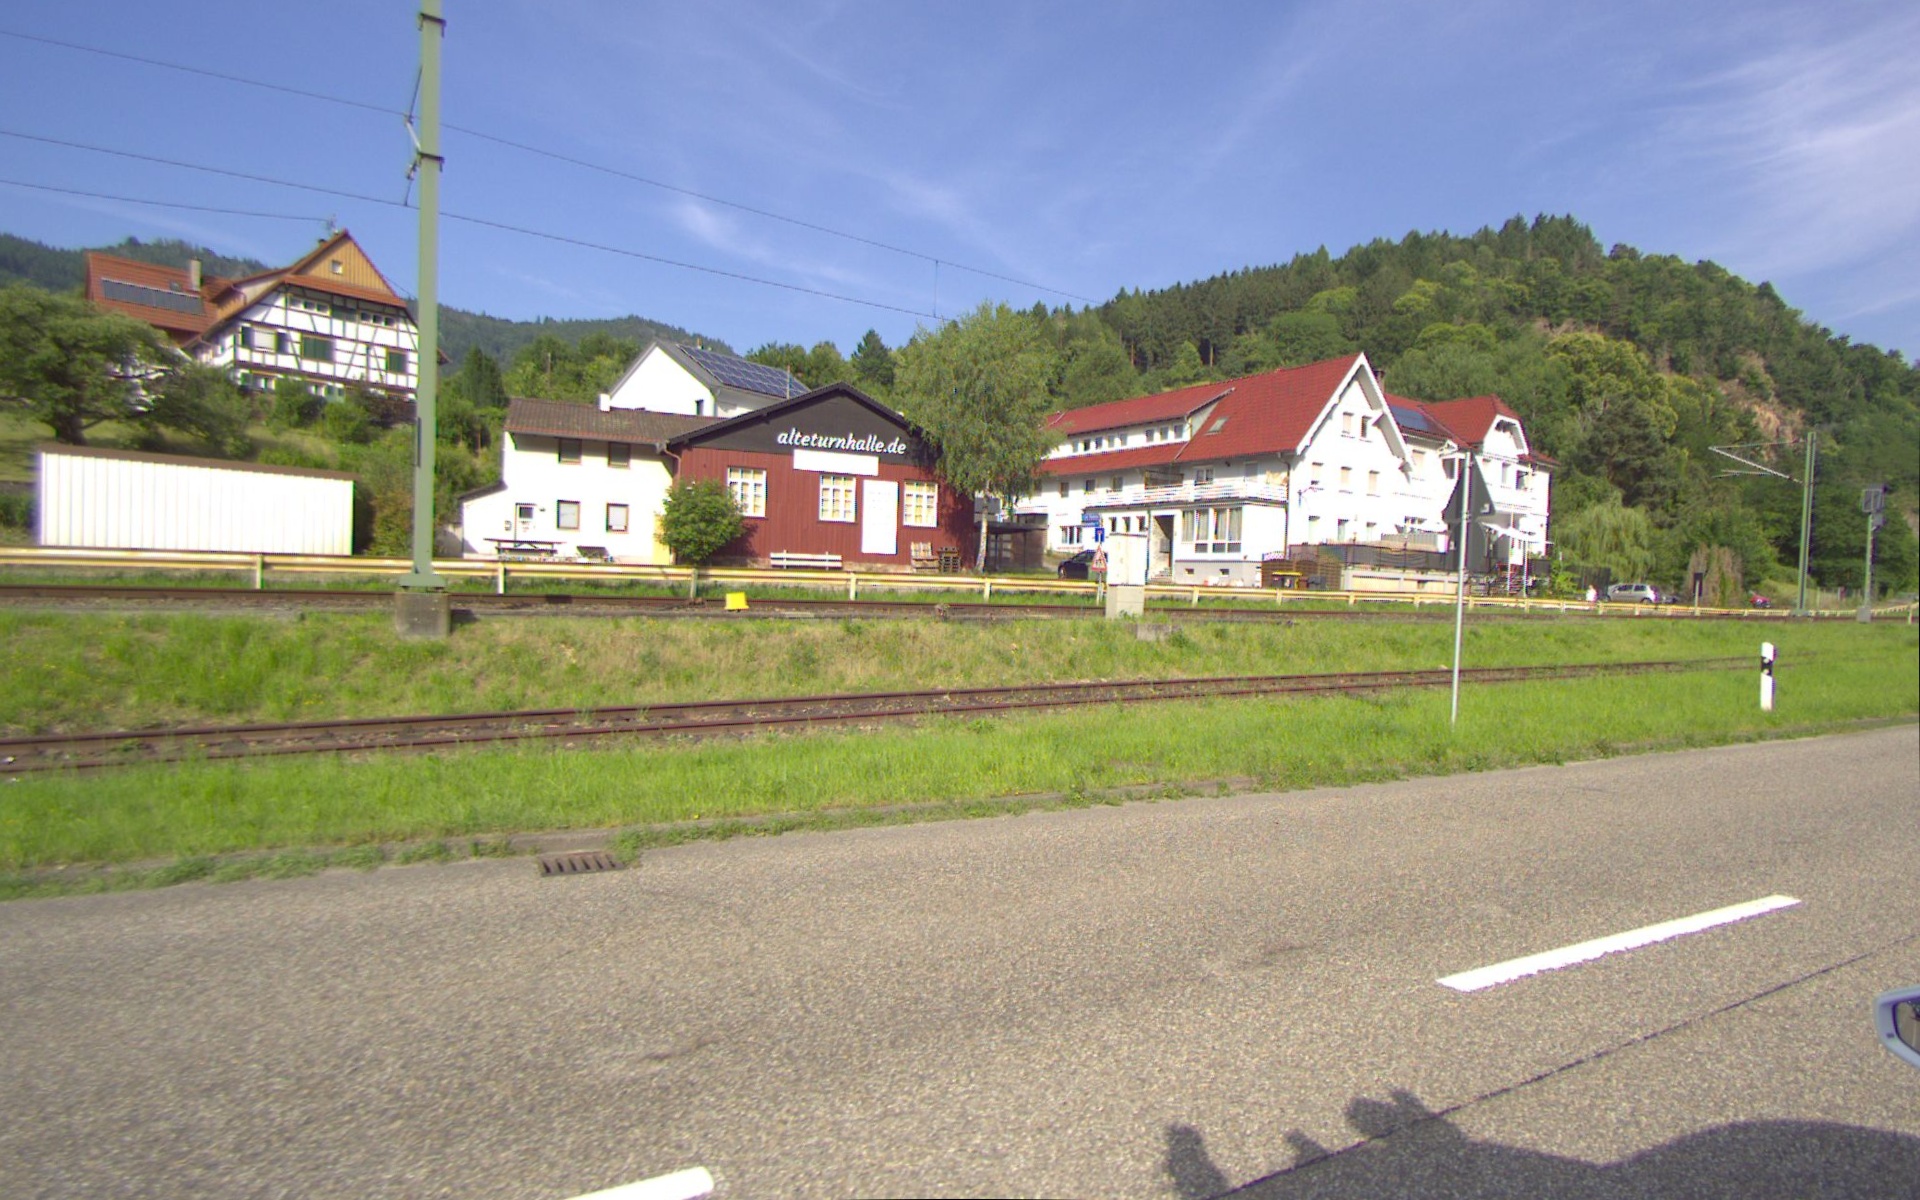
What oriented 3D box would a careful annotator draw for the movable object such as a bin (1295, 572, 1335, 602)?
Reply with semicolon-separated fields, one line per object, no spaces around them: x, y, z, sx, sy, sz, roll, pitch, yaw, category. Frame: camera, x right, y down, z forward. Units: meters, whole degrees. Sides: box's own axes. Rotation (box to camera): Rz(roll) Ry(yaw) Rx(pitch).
15.066;-0.561;42.610;1.131;1.208;1.083;1;2;-34;movable object such as a bin

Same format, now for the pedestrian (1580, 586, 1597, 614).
37.118;-0.004;59.312;0.671;1.638;0.602;1;2;-36;pedestrian

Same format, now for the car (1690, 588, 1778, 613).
61.029;0.042;79.255;2.428;1.714;4.938;1;2;-31;car

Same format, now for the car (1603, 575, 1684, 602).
46.936;-0.818;69.066;1.979;1.714;4.118;1;2;-34;car

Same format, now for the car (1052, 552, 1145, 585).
5.824;-1.353;42.594;1.717;1.288;4.072;1;2;-32;car

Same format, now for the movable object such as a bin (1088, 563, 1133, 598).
5.465;-0.714;36.491;1.084;1.208;1.130;1;2;-39;movable object such as a bin

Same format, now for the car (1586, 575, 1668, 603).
44.964;-0.763;67.742;1.979;1.714;4.118;1;2;-34;car

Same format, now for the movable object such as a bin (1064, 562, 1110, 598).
4.515;-0.723;35.723;1.084;1.208;1.130;1;2;-39;movable object such as a bin

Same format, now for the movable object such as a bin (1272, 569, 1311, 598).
14.360;-0.715;43.523;1.131;1.208;1.083;1;2;-34;movable object such as a bin
